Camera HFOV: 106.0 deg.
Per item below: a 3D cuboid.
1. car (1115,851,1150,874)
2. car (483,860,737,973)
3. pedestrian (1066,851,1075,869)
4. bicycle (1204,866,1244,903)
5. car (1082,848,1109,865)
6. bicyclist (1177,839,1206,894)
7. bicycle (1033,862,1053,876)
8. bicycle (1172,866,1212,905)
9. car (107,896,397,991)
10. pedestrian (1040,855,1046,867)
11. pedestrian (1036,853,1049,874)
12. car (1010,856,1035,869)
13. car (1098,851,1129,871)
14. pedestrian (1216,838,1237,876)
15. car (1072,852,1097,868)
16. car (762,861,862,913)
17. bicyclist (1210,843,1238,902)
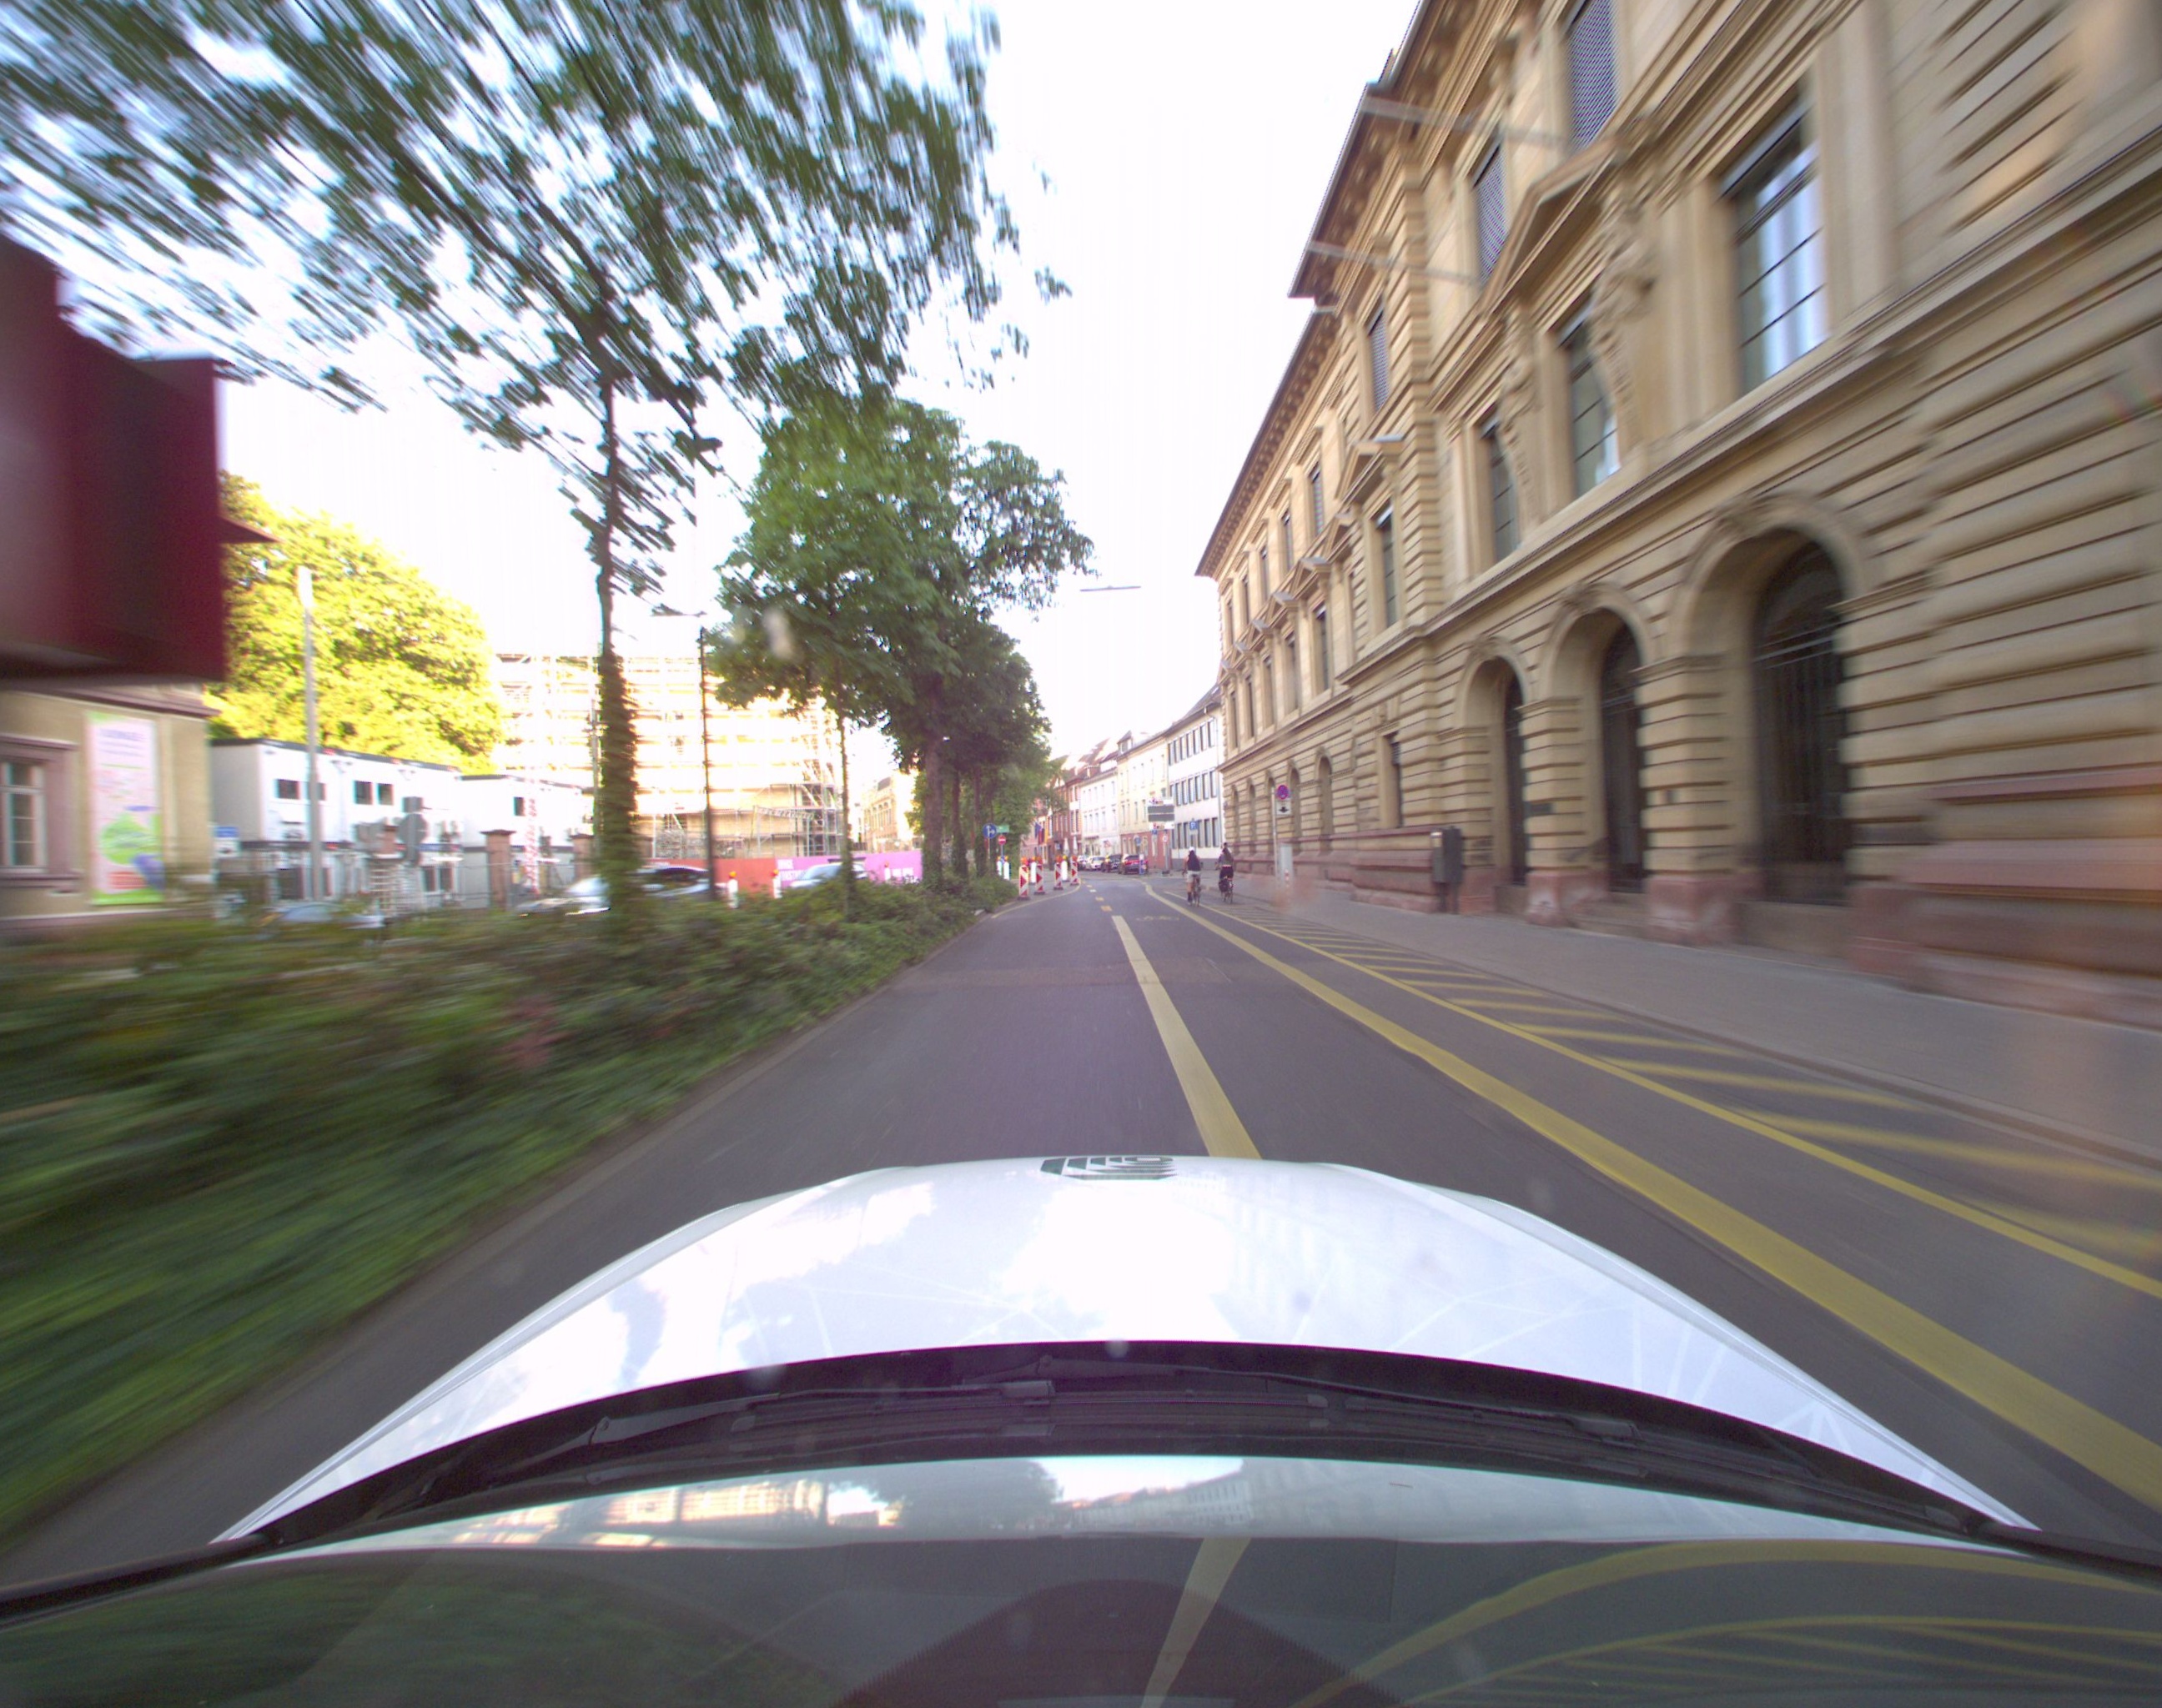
[{"bbox_3d":[4.095,0.695,65.070,1.813,1.682,3.904,-2,0,-11],"label":"car"},{"bbox_3d":[-8.680,1.052,15.609,1.834,1.674,4.562,-4,0,5],"label":"car"},{"bbox_3d":[-1.076,0.619,85.331,0.827,1.844,0.959,-1,0,4],"label":"pedestrian"},{"bbox_3d":[4.376,0.911,25.064,0.652,1.071,2.254,0,0,-5],"label":"bicycle"},{"bbox_3d":[1.453,0.229,81.058,1.814,1.560,3.848,-2,0,-12],"label":"car"},{"bbox_3d":[3.207,0.349,23.641,0.668,1.566,0.697,0,-1,-8],"label":"bicyclist"},{"bbox_3d":[-3.119,1.195,66.784,0.754,1.037,2.132,-2,0,23],"label":"bicycle"},{"bbox_3d":[3.207,0.901,23.707,0.669,1.071,1.896,-1,0,-8],"label":"bicycle"},{"bbox_3d":[-16.071,1.659,16.134,1.674,1.351,3.886,-4,0,0],"label":"car"},{"bbox_3d":[-5.601,0.989,119.293,0.751,1.762,0.582,-2,0,-15],"label":"pedestrian"},{"bbox_3d":[-3.141,0.766,66.735,0.728,1.674,0.900,-2,0,22],"label":"pedestrian"},{"bbox_3d":[-7.174,1.055,99.640,1.820,1.560,3.836,-2,0,-22],"label":"car"},{"bbox_3d":[2.865,0.609,72.853,1.813,1.684,3.985,-2,0,-11],"label":"car"},{"bbox_3d":[6.849,0.142,38.305,0.813,1.765,1.039,-1,0,4],"label":"pedestrian"},{"bbox_3d":[0.355,0.591,85.432,1.814,1.560,3.848,-2,0,-12],"label":"car"},{"bbox_3d":[-9.486,1.123,29.110,1.834,1.551,4.179,-4,0,4],"label":"car"},{"bbox_3d":[4.385,0.559,25.015,0.648,1.760,0.863,0,0,-5],"label":"bicyclist"}]
